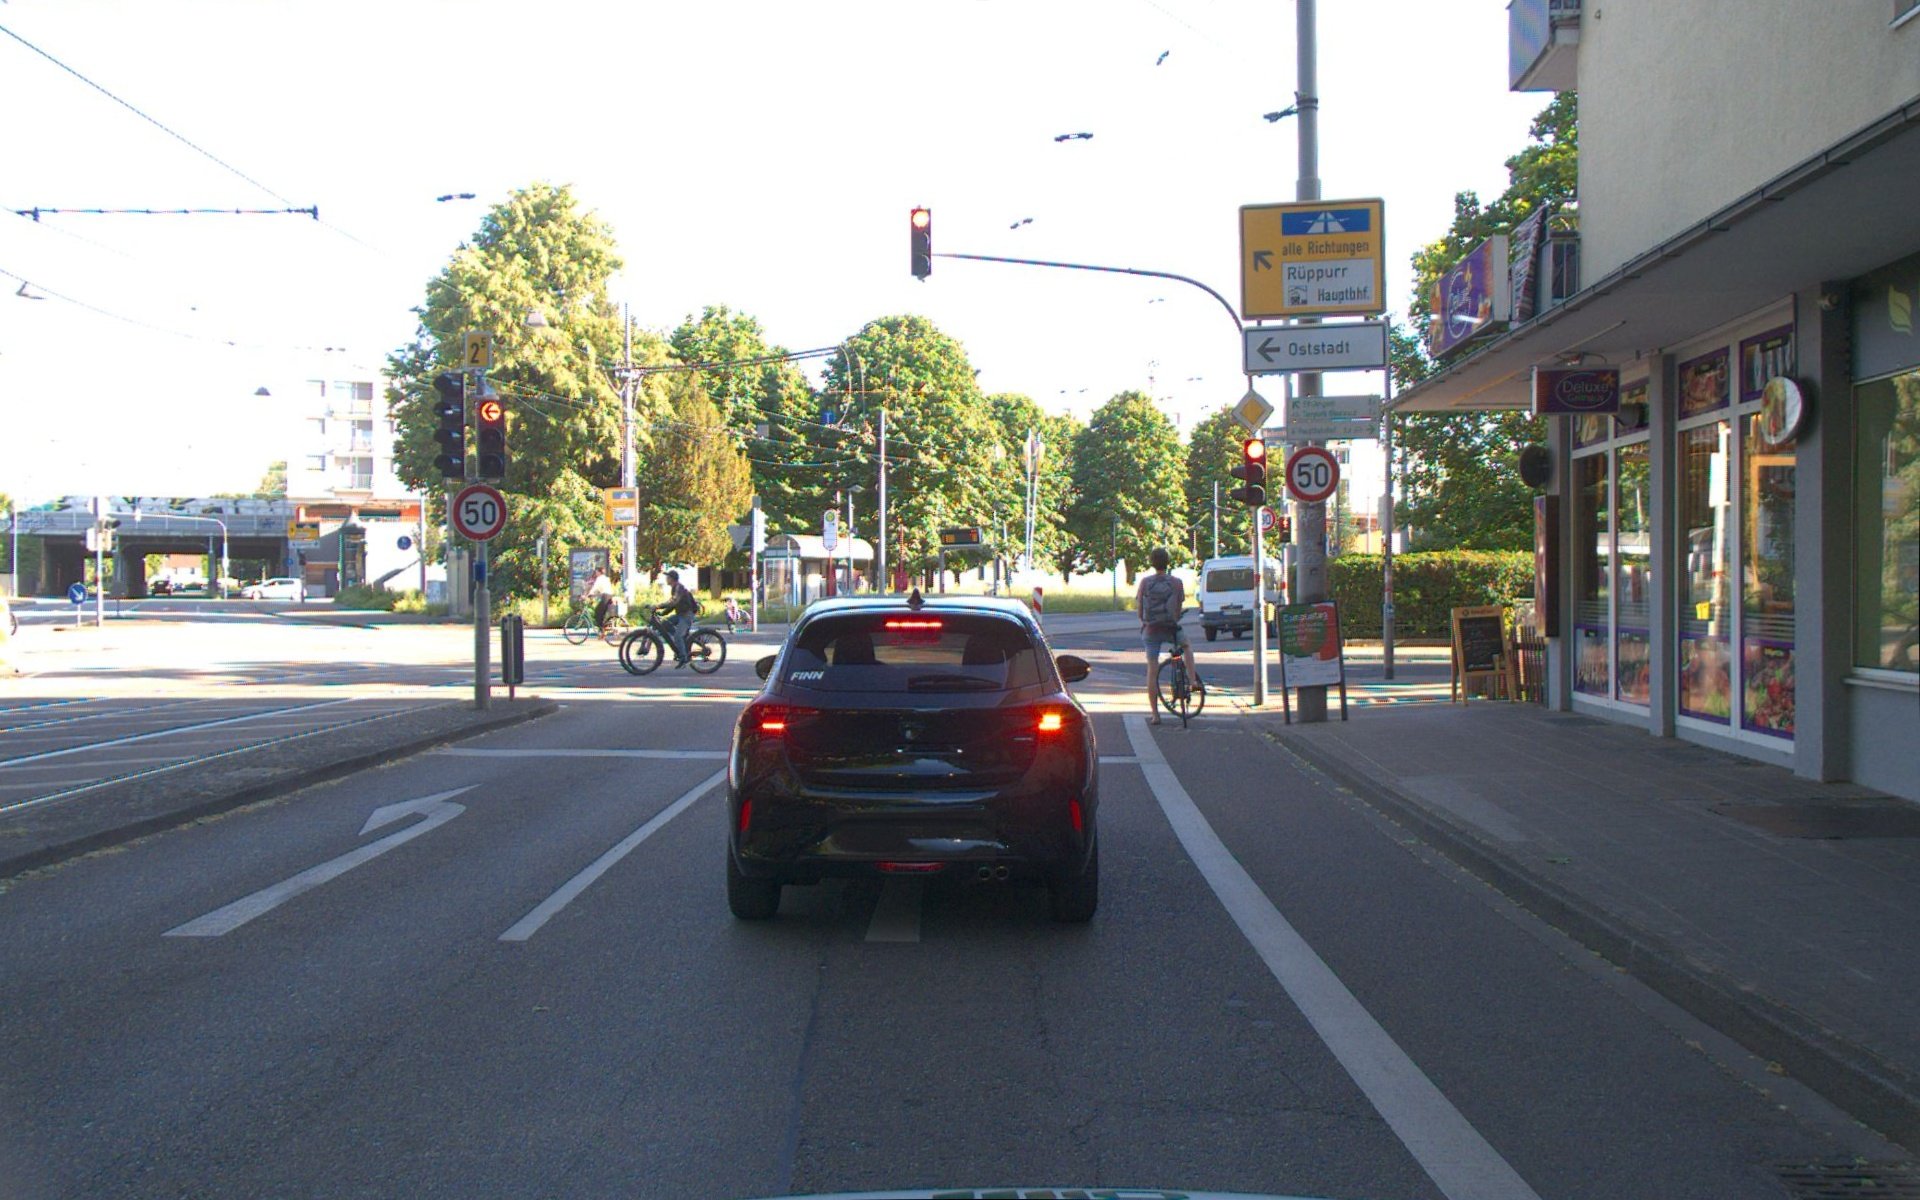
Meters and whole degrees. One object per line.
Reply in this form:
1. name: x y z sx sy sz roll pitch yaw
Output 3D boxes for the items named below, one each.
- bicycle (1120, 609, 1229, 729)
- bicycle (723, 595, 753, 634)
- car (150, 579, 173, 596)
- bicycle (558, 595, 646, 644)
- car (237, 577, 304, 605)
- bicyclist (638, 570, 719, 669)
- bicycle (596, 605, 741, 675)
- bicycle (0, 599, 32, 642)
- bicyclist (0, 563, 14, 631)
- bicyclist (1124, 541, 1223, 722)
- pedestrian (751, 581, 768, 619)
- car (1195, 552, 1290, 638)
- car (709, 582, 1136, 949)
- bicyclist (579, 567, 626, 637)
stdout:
1. bicycle: 2.287 0.708 17.876 0.842 1.173 2.171 -1 1 -1
2. bicycle: -6.214 0.385 46.375 0.593 1.049 1.982 0 1 -1
3. car: -85.929 -1.332 178.045 2.186 1.855 4.112 -1 1 -26
4. bicycle: -8.363 0.448 38.588 2.012 1.113 0.592 0 0 21
5. car: -47.673 -0.625 114.410 4.128 1.836 1.721 -1 1 -29
6. bicyclist: -4.529 0.297 26.545 1.098 1.547 0.915 -1 0 -24
7. bicycle: -4.663 0.630 26.510 2.162 1.051 0.828 -1 0 -24
8. bicycle: -23.003 0.487 38.954 2.014 1.001 0.673 0 0 10
9. bicyclist: -23.010 -0.068 38.946 0.988 1.598 0.800 0 0 10
10. bicyclist: 2.289 0.327 17.824 0.922 1.883 0.864 -1 0 -1
11. pedestrian: -8.958 0.009 73.927 0.623 1.658 0.572 1 0 6
12. car: 8.016 -0.155 46.579 2.020 2.288 4.890 0 1 17
13. car: -0.169 0.650 8.711 1.692 1.454 4.186 1 0 -1
14. bicyclist: -8.338 0.040 38.583 0.843 1.623 0.649 0 0 21
